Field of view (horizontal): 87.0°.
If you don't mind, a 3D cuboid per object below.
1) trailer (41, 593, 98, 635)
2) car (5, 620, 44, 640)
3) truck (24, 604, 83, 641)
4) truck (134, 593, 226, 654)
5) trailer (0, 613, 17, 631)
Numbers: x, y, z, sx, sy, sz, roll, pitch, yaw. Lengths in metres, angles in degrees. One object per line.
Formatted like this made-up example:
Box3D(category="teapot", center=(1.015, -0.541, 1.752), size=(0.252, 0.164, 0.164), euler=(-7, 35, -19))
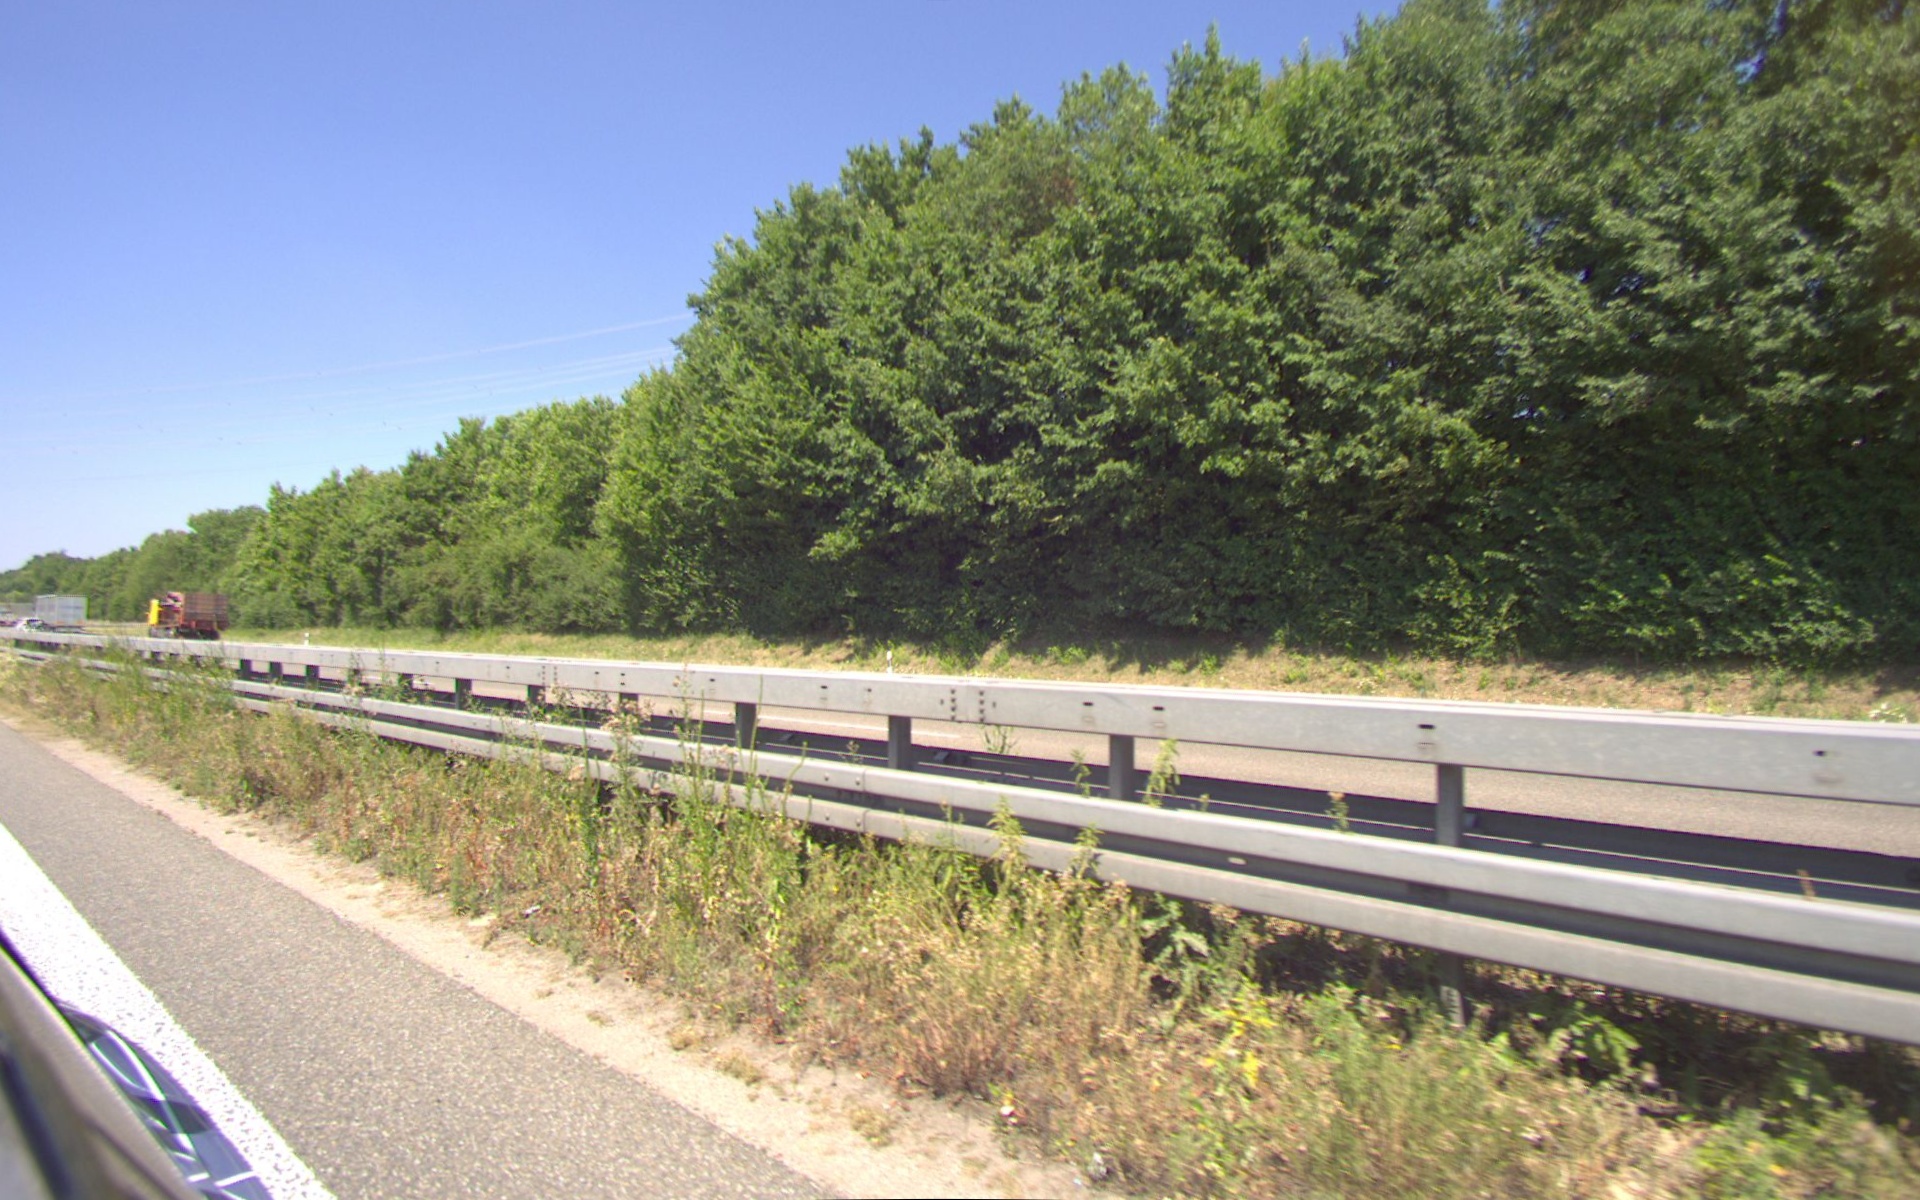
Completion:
Box3D(category="trailer", center=(-95.222, 1.429, 108.122), size=(7.964, 4.312, 3.418), euler=(-1, 0, 40))
Box3D(category="car", center=(-83.918, 2.693, 90.766), size=(5.609, 1.683, 1.972), euler=(-1, -3, 41))
Box3D(category="truck", center=(-102.397, 2.542, 114.269), size=(11.115, 4.025, 3.418), euler=(-1, -2, 40))
Box3D(category="truck", center=(-52.510, 1.513, 67.990), size=(11.152, 3.767, 2.754), euler=(-1, 0, 41))
Box3D(category="trailer", center=(-147.883, 3.452, 155.989), size=(8.531, 2.659, 3.112), euler=(-1, 0, 43))
